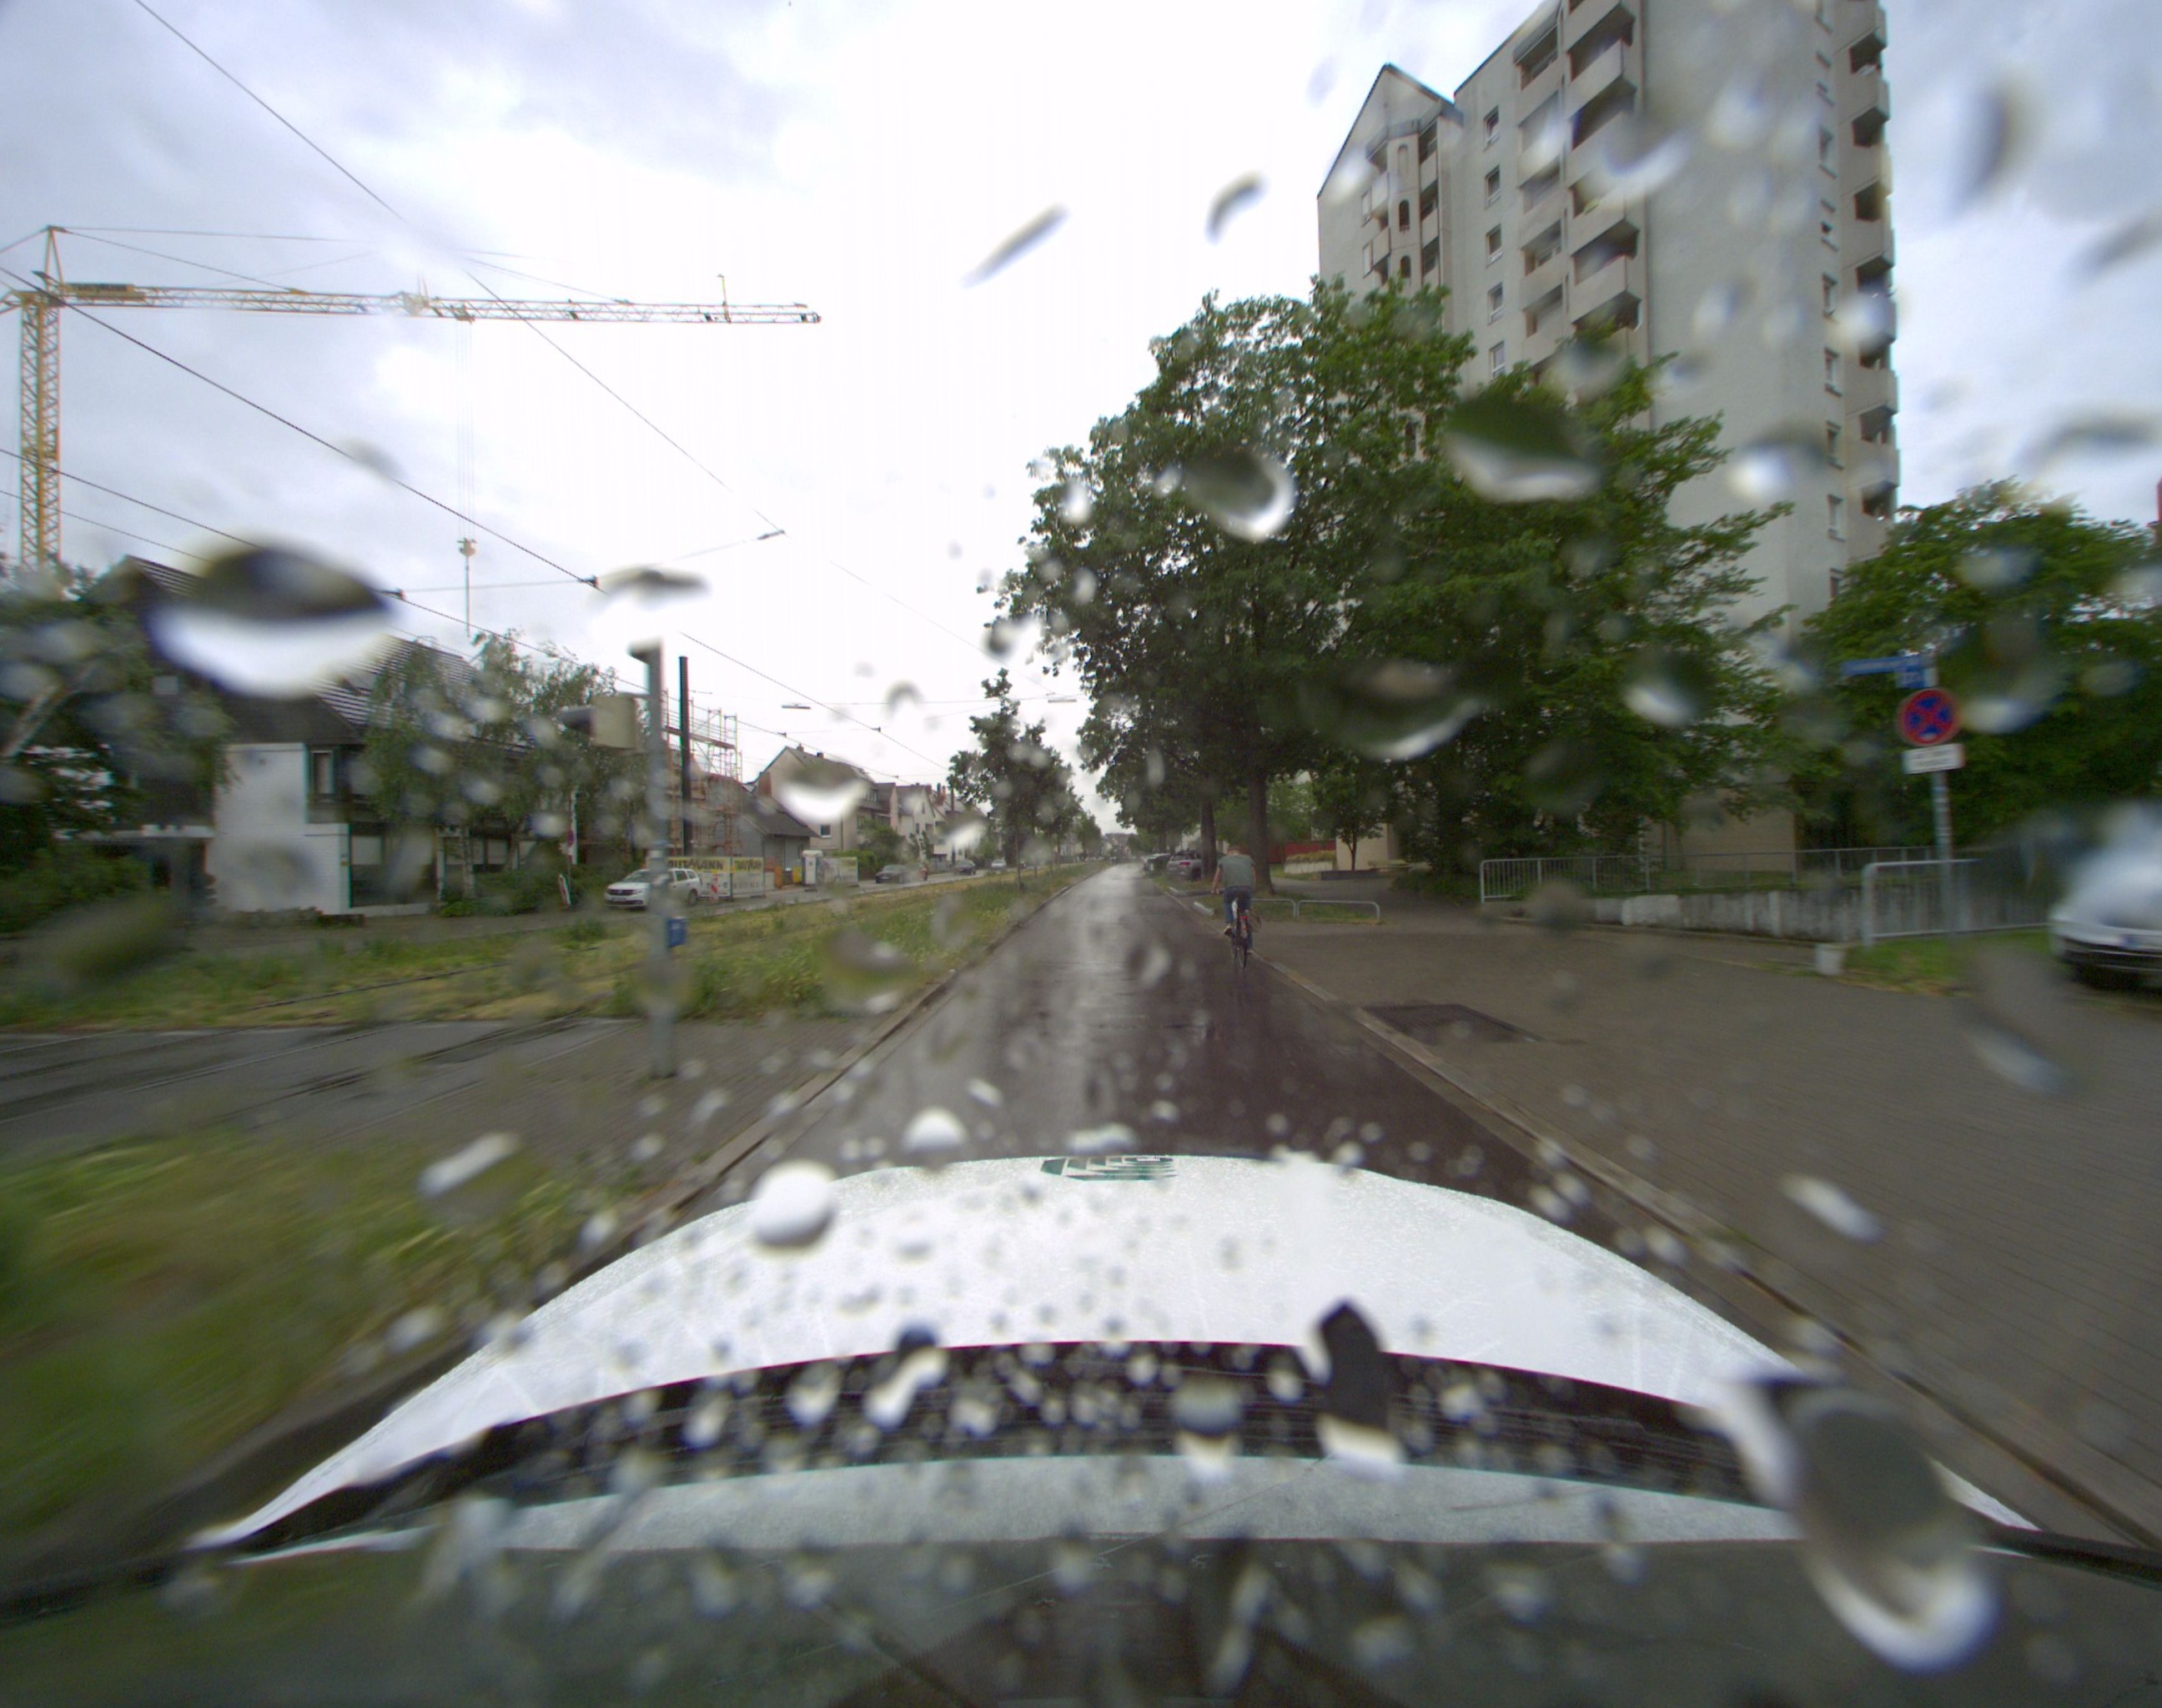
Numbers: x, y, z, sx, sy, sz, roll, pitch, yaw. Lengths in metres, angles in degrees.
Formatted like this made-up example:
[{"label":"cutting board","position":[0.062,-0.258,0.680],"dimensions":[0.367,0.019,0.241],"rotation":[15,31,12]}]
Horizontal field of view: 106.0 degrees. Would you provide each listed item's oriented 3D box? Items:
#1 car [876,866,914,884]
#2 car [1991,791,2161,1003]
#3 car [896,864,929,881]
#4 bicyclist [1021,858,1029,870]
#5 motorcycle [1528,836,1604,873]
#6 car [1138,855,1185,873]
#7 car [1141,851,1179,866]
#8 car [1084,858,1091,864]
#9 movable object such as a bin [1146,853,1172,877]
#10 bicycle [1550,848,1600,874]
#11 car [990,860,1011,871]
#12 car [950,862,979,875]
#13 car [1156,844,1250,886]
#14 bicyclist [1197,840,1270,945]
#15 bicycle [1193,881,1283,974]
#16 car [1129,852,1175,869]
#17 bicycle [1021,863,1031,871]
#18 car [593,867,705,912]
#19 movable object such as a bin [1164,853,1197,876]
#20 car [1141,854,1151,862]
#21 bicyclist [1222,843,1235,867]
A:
[{"label":"car","position":[-13.765,1.525,60.547],"dimensions":[1.656,1.244,4.075],"rotation":[0,0,3]},{"label":"car","position":[11.201,0.290,7.315],"dimensions":[4.809,1.745,1.991],"rotation":[-2,0,-14]},{"label":"car","position":[-13.555,1.472,65.733],"dimensions":[1.667,1.244,3.858],"rotation":[0,0,3]},{"label":"bicyclist","position":[-8.021,1.426,117.175],"dimensions":[1.014,1.685,1.092],"rotation":[-2,0,2]},{"label":"motorcycle","position":[18.269,0.031,30.722],"dimensions":[0.889,1.288,2.278],"rotation":[-2,0,-35]},{"label":"car","position":[6.911,0.852,69.532],"dimensions":[4.063,1.443,1.566],"rotation":[-2,0,-41]},{"label":"car","position":[8.819,0.544,90.892],"dimensions":[4.057,1.513,1.568],"rotation":[-2,0,-34]},{"label":"car","position":[1.790,1.964,227.283],"dimensions":[1.835,1.672,4.003],"rotation":[-2,0,3]},{"label":"movable object such as a bin","position":[5.154,0.743,53.779],"dimensions":[1.129,1.457,1.392],"rotation":[-7,1,-18]},{"label":"bicycle","position":[17.792,0.256,29.355],"dimensions":[0.410,0.925,1.449],"rotation":[-2,0,-35]},{"label":"car","position":[-10.693,1.504,108.554],"dimensions":[1.887,1.469,4.695],"rotation":[0,0,6]},{"label":"car","position":[-12.327,1.491,86.439],"dimensions":[1.887,1.244,4.695],"rotation":[0,0,6]},{"label":"car","position":[5.995,0.517,40.068],"dimensions":[4.161,1.719,1.981],"rotation":[-5,1,-30]},{"label":"bicyclist","position":[2.192,0.535,11.845],"dimensions":[0.807,1.433,1.060],"rotation":[-2,0,-1]},{"label":"bicycle","position":[2.214,0.998,11.843],"dimensions":[0.807,1.097,2.517],"rotation":[-2,0,0]},{"label":"car","position":[6.458,0.591,74.302],"dimensions":[4.057,1.443,1.568],"rotation":[-2,0,-34]},{"label":"bicycle","position":[-7.959,1.845,117.859],"dimensions":[1.014,1.028,3.199],"rotation":[-2,0,3]},{"label":"car","position":[-16.442,1.299,31.278],"dimensions":[1.703,1.542,4.426],"rotation":[1,0,4]},{"label":"movable object such as a bin","position":[6.598,0.693,54.024],"dimensions":[1.686,1.326,1.392],"rotation":[-4,0,-19]},{"label":"car","position":[12.792,0.759,160.938],"dimensions":[1.825,1.586,4.003],"rotation":[-2,0,3]},{"label":"bicyclist","position":[10.093,0.078,55.727],"dimensions":[0.732,1.594,0.945],"rotation":[-2,0,2]}]
